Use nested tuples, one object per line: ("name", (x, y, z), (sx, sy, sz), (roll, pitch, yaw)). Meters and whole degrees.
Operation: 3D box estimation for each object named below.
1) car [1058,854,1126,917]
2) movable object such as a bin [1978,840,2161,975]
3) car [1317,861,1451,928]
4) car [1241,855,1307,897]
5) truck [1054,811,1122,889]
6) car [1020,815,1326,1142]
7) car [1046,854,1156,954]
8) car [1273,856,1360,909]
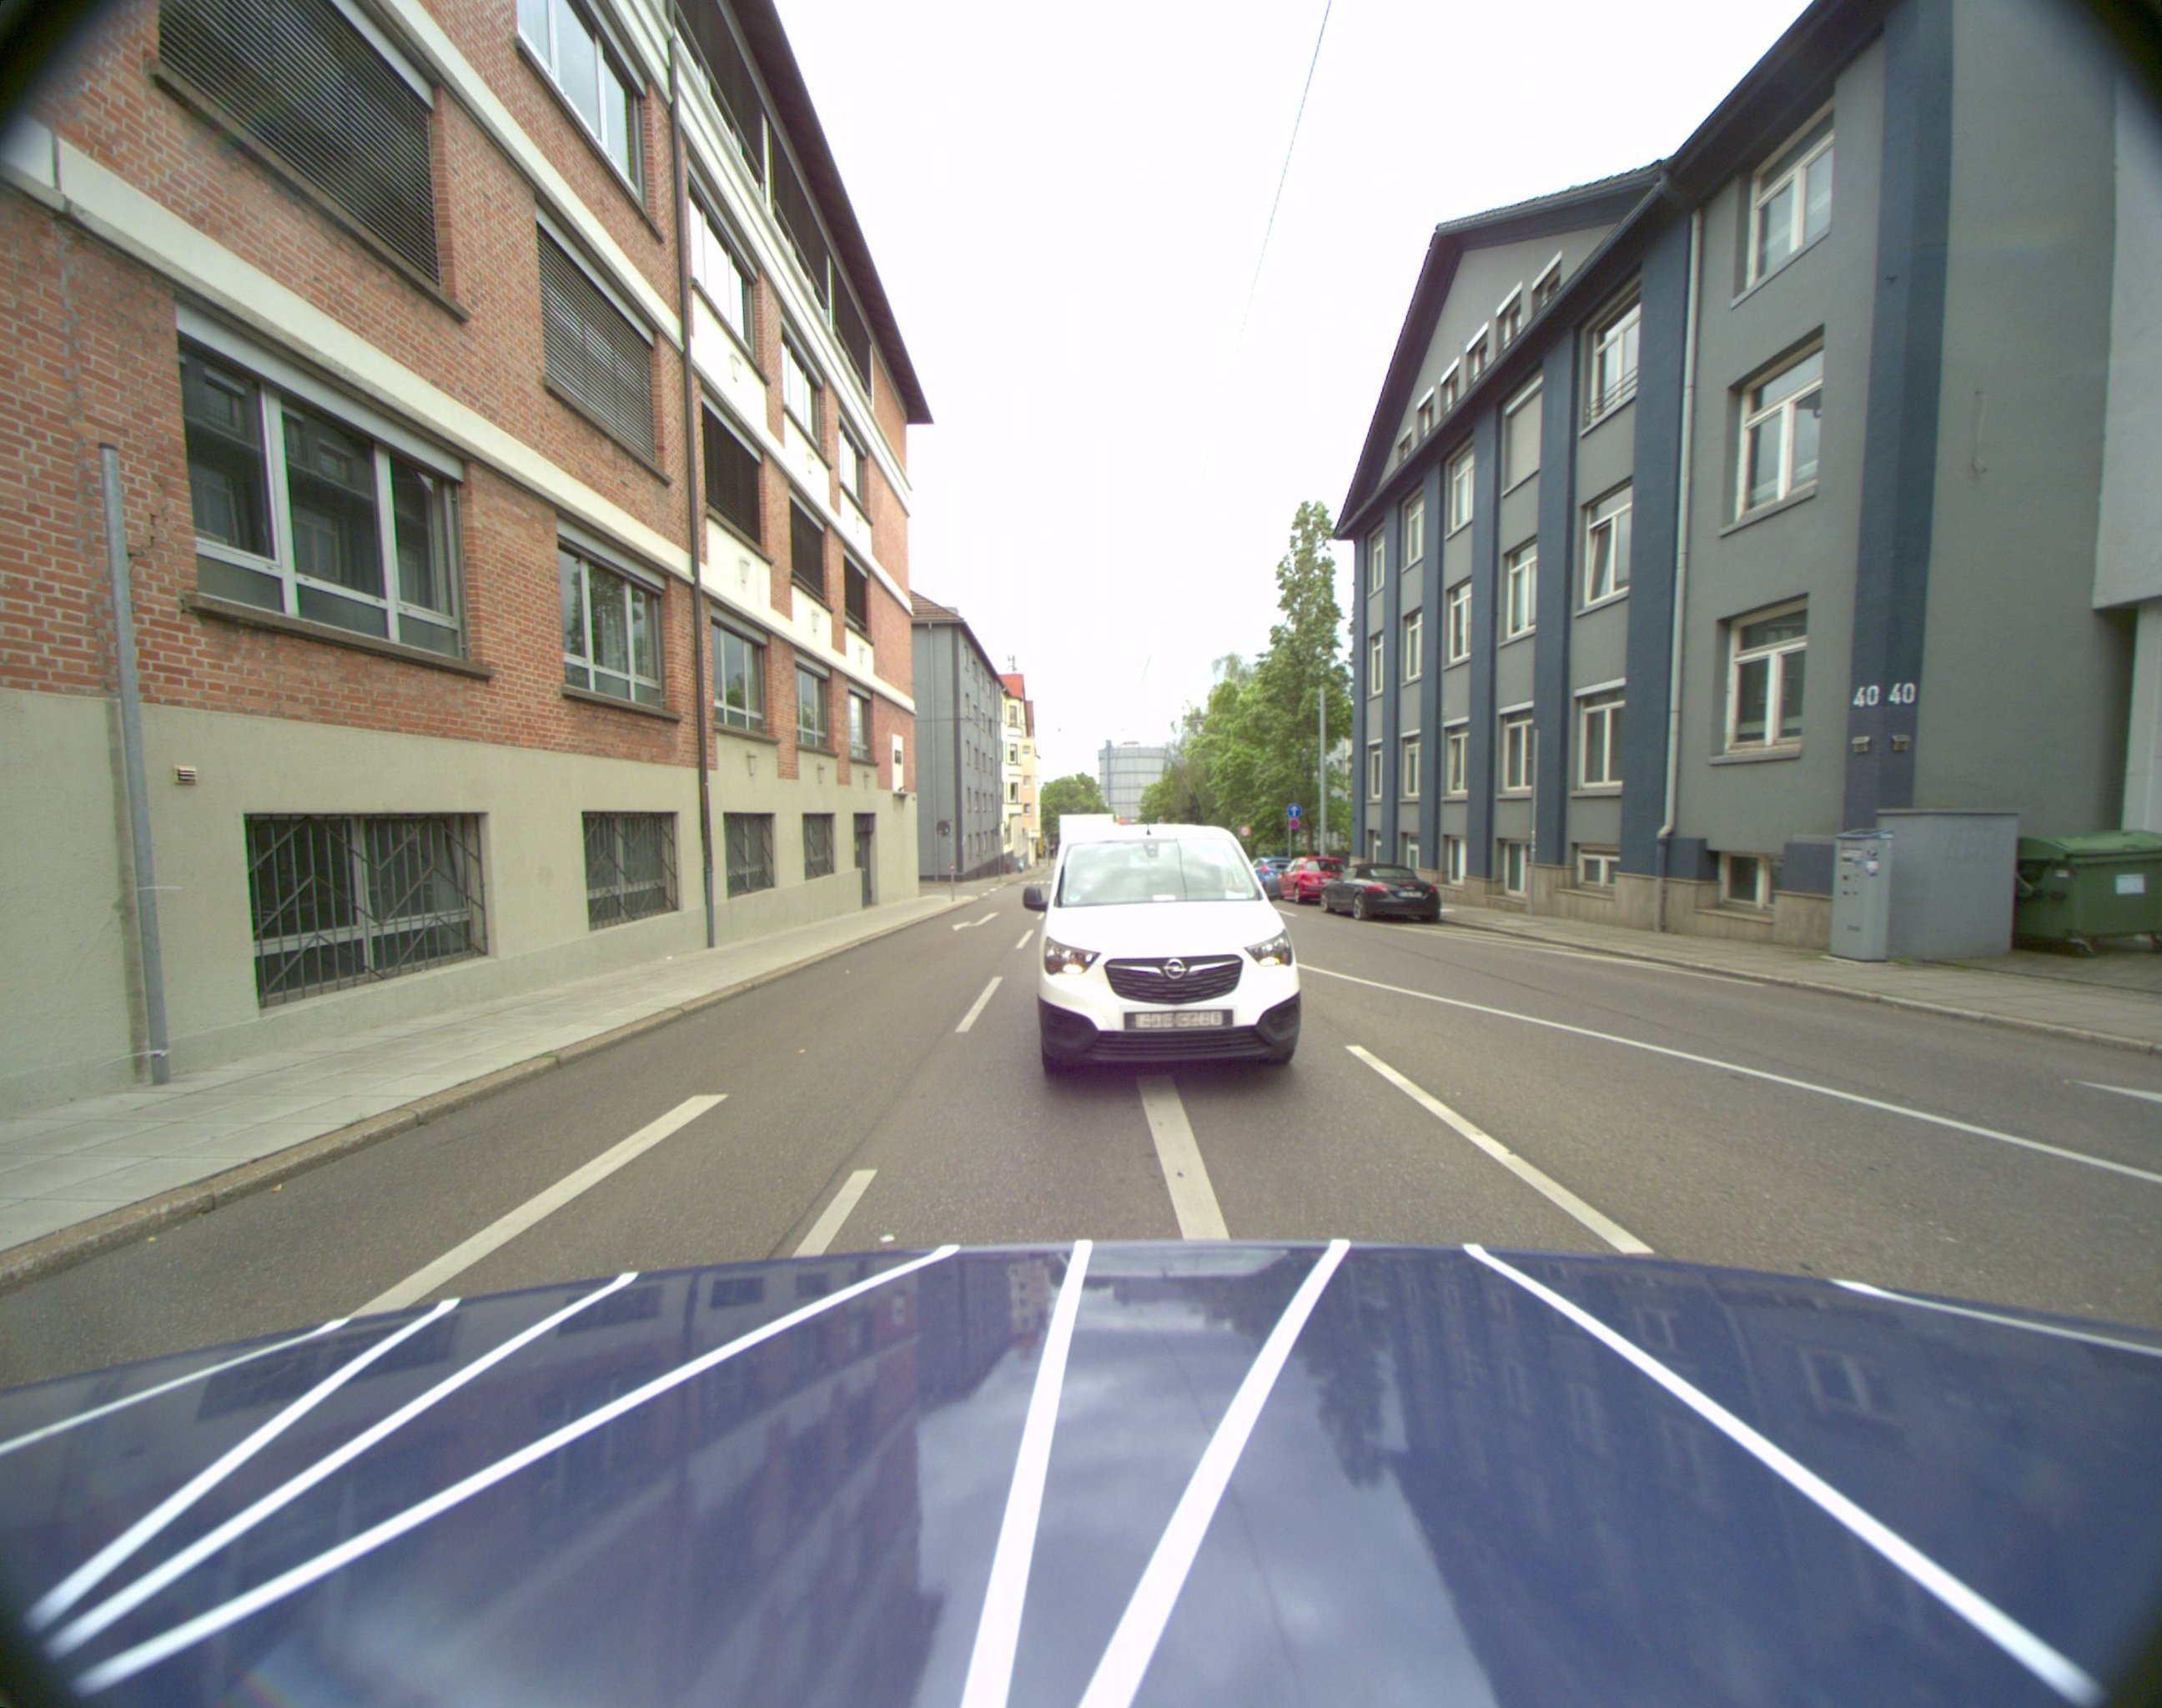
("car", (0.312, 0.829, 21.890), (1.739, 1.519, 3.999), (-2, 1, 1))
("movable object such as a bin", (12.060, 0.604, 9.166), (1.229, 1.498, 1.040), (-2, 1, 1))
("car", (7.218, 0.915, 18.514), (1.801, 1.384, 3.729), (0, 1, 1))
("car", (7.480, 0.813, 29.755), (1.644, 1.441, 3.729), (-2, 1, 1))
("truck", (0.378, -0.231, 38.653), (2.969, 3.409, 8.879), (-2, 1, 1))
("car", (0.571, 0.719, 6.490), (1.739, 1.875, 3.999), (-2, 1, 1))
("car", (0.351, 0.818, 14.397), (1.739, 1.519, 3.999), (-2, 1, 1))
("car", (7.431, 0.858, 24.349), (1.644, 1.441, 3.729), (-2, 1, 1))
